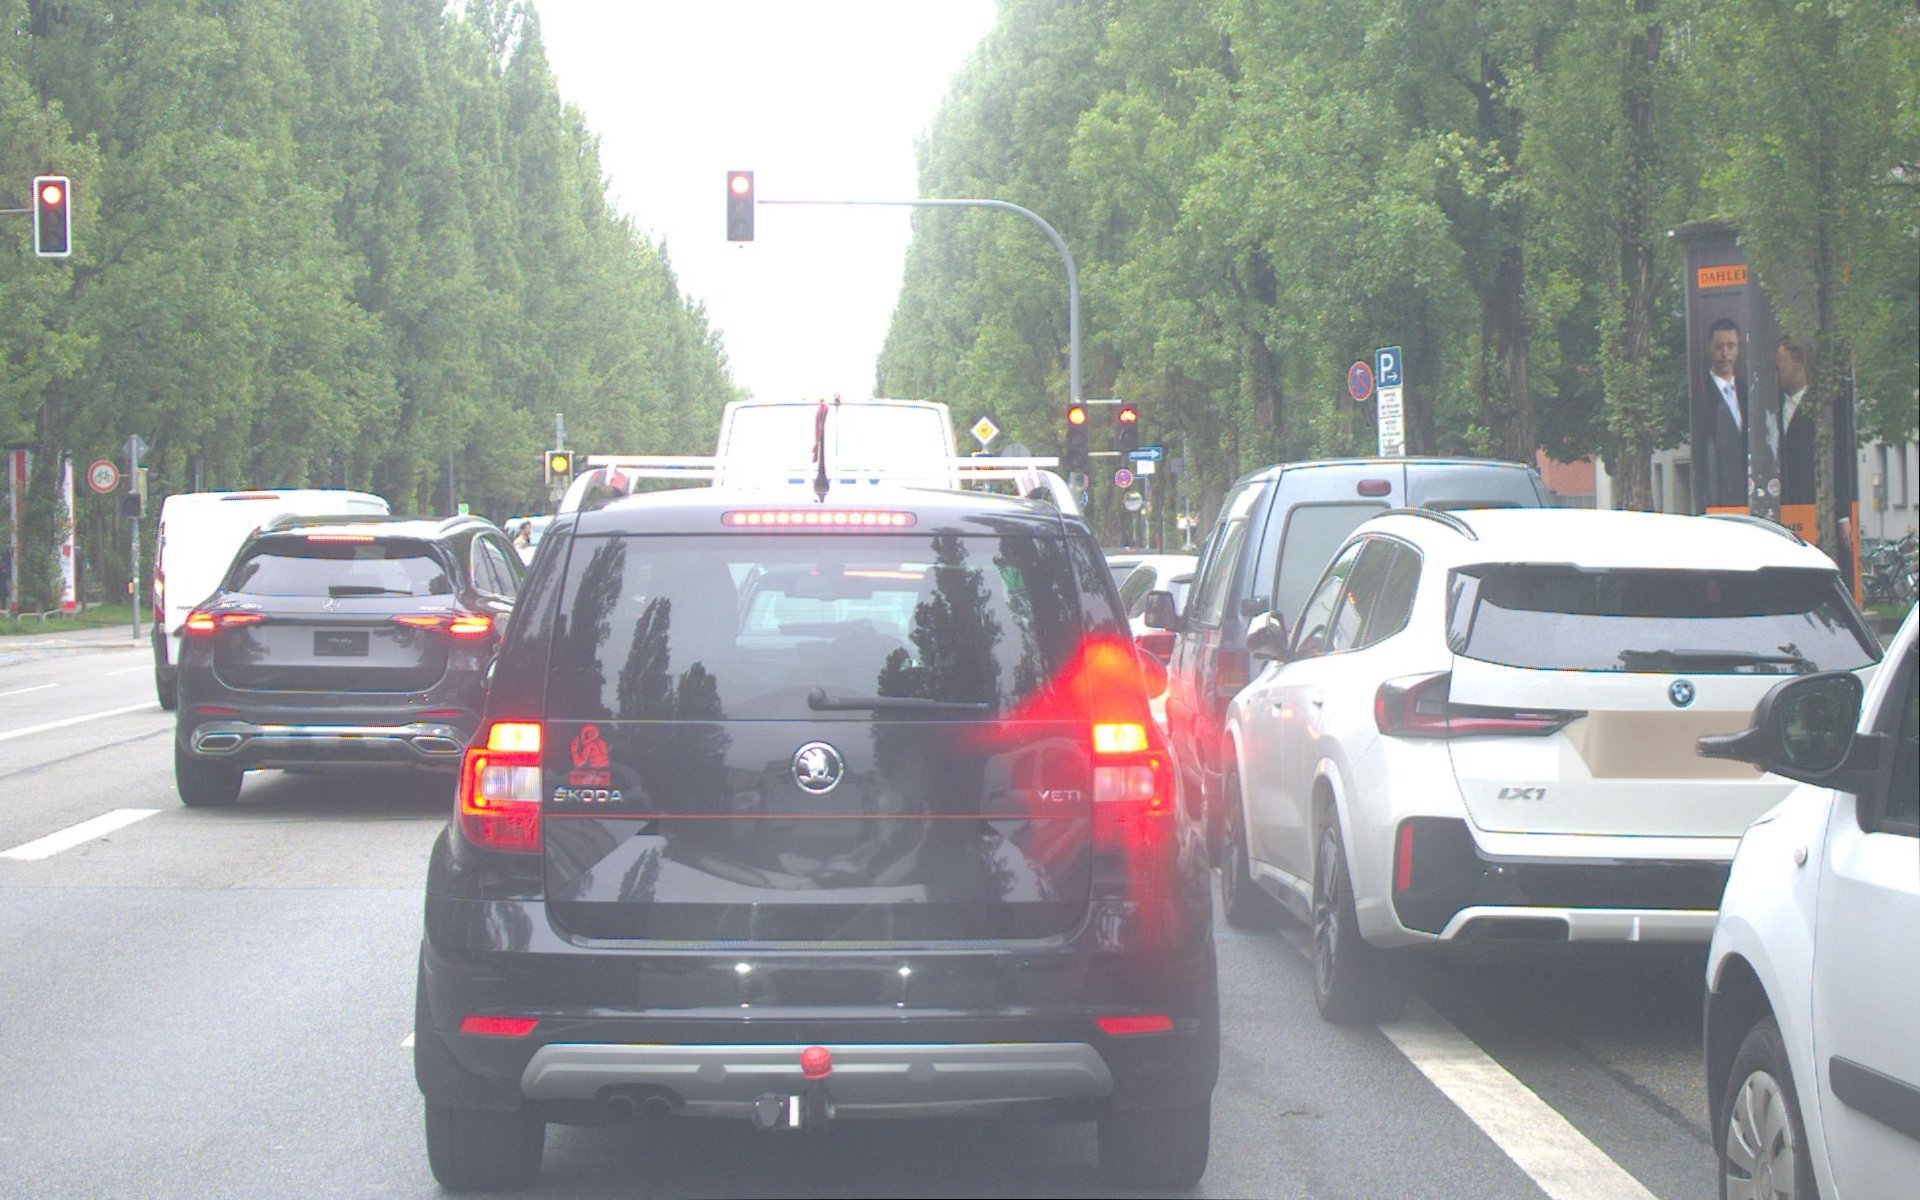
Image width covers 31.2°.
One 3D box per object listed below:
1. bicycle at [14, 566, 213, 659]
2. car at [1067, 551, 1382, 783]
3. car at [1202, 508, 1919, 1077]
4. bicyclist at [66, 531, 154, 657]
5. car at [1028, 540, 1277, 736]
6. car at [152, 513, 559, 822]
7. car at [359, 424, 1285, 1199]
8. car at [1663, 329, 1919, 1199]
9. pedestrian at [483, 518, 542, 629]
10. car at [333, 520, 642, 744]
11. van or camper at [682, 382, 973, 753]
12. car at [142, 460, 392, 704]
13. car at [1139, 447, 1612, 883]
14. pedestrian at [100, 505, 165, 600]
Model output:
[{"bbox_3d":[-11.767,0.168,47.814,2.536,1.233,0.812,-1,1,9],"label":"bicycle"},{"bbox_3d":[1.703,0.390,23.182,1.735,1.382,3.563,-1,1,-2],"label":"car"},{"bbox_3d":[1.918,0.491,11.834,1.741,1.587,4.212,-1,1,-2],"label":"car"},{"bbox_3d":[-11.822,-0.089,47.819,0.906,1.716,0.824,-1,1,8],"label":"bicyclist"},{"bbox_3d":[1.532,0.263,28.481,1.735,1.470,3.563,-1,1,-2],"label":"car"},{"bbox_3d":[-3.435,0.308,20.202,1.781,1.614,4.025,1,1,-2],"label":"car"},{"bbox_3d":[-0.332,0.503,9.013,1.855,1.764,4.000,1,1,-1],"label":"car"},{"bbox_3d":[2.398,0.530,4.702,1.851,1.875,4.169,-1,1,-2],"label":"car"},{"bbox_3d":[-8.189,-0.487,62.906,0.885,2.007,1.013,-1,1,1],"label":"pedestrian"},{"bbox_3d":[-3.580,0.185,26.734,1.993,1.555,4.001,-1,2,-3],"label":"car"},{"bbox_3d":[-1.026,-0.273,25.777,1.975,2.539,4.025,-1,1,-3],"label":"van or camper"},{"bbox_3d":[-6.380,-0.196,32.024,1.781,2.104,4.025,-1,1,-5],"label":"car"},{"bbox_3d":[1.932,0.235,17.106,1.735,1.888,4.025,-1,1,-2],"label":"car"},{"bbox_3d":[-15.528,-0.890,64.537,0.880,1.758,0.878,-1,1,8],"label":"pedestrian"}]
